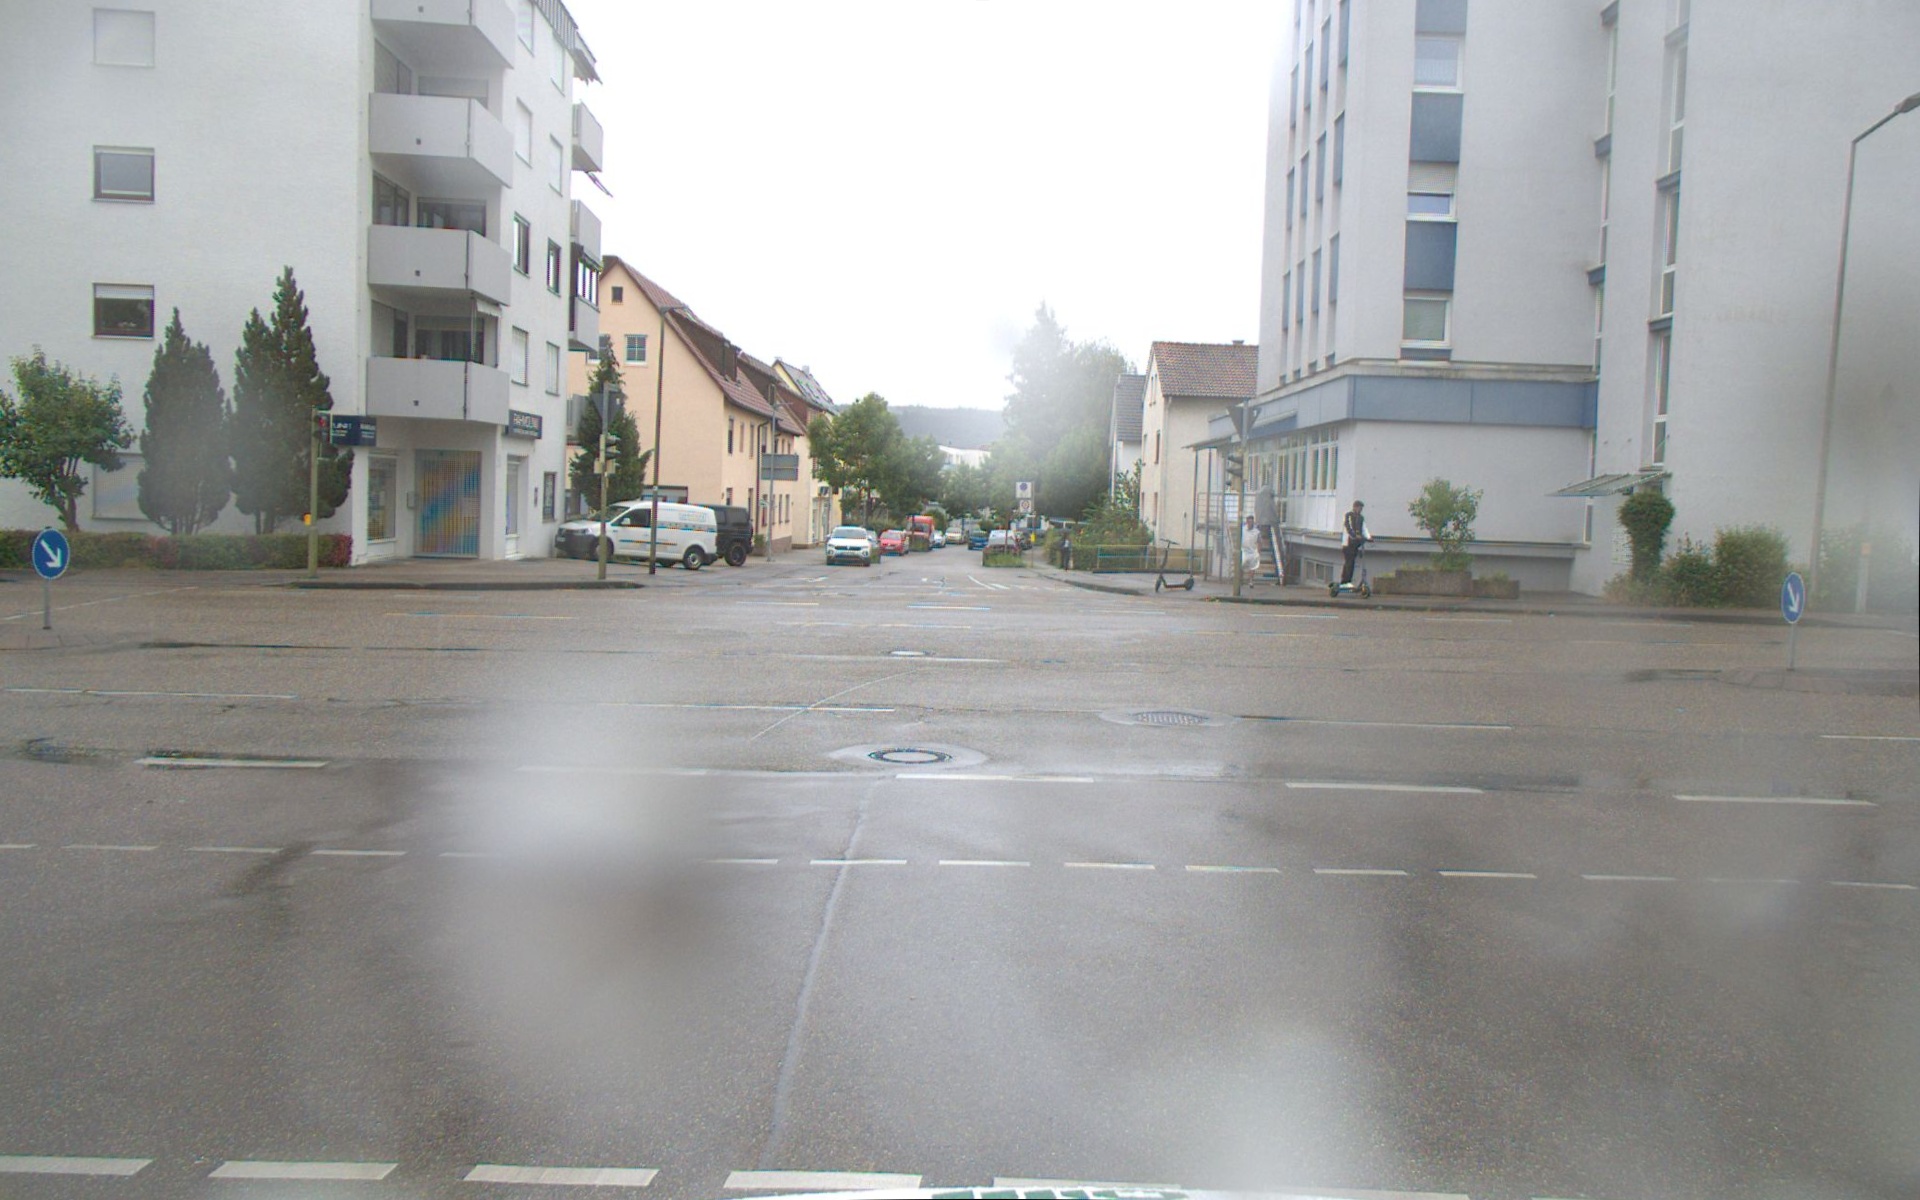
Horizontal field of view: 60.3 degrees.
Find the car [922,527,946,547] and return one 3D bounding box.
[{"bbox_3d":[-2.164,-5.257,138.574,1.862,1.586,4.192,0,2,0],"label":"car"}]

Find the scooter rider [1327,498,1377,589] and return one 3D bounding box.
[{"bbox_3d":[8.008,-1.155,33.792,0.742,1.827,0.668,0,2,-24],"label":"scooter rider"}]

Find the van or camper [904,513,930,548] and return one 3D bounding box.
[{"bbox_3d":[-3.246,-5.295,126.529,1.862,2.557,4.239,0,2,0],"label":"van or camper"}]

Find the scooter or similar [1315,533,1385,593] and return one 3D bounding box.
[{"bbox_3d":[7.977,-0.770,33.848,0.747,1.192,1.304,0,2,-25],"label":"scooter or similar"}]

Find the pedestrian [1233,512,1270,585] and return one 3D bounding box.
[{"bbox_3d":[6.946,-1.225,39.482,0.635,1.675,0.525,4,1,-7],"label":"pedestrian"}]

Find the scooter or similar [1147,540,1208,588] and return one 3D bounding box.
[{"bbox_3d":[5.070,-0.851,38.663,1.243,1.100,0.876,0,2,-5],"label":"scooter or similar"}]

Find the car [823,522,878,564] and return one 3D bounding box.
[{"bbox_3d":[-4.440,-2.328,67.873,1.953,1.654,4.192,0,2,0],"label":"car"}]

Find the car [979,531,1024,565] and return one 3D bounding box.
[{"bbox_3d":[2.000,-2.571,81.487,2.102,1.616,4.129,0,2,0],"label":"car"}]

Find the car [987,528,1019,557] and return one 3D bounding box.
[{"bbox_3d":[2.683,-3.582,103.618,1.862,1.775,4.192,0,2,0],"label":"car"}]

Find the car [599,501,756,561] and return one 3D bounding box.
[{"bbox_3d":[-9.263,-2.246,54.429,4.796,1.867,1.972,-1,2,-39],"label":"car"}]

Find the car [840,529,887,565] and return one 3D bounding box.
[{"bbox_3d":[-4.593,-2.549,79.274,1.953,1.654,4.192,0,2,0],"label":"car"}]

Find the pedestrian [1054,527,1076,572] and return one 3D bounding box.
[{"bbox_3d":[4.485,-2.174,70.880,0.731,1.880,0.525,4,1,-7],"label":"pedestrian"}]

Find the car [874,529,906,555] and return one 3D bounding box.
[{"bbox_3d":[-4.401,-3.652,104.323,1.862,1.586,4.192,0,2,0],"label":"car"}]

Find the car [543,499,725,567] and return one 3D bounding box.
[{"bbox_3d":[-9.305,-1.896,47.410,4.796,1.867,1.972,-1,2,-39],"label":"car"}]

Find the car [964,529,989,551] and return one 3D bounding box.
[{"bbox_3d":[1.342,-4.880,134.997,1.952,1.713,4.001,1,2,0],"label":"car"}]

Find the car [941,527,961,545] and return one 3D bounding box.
[{"bbox_3d":[-0.828,-5.952,154.583,1.862,1.586,4.192,0,2,0],"label":"car"}]
